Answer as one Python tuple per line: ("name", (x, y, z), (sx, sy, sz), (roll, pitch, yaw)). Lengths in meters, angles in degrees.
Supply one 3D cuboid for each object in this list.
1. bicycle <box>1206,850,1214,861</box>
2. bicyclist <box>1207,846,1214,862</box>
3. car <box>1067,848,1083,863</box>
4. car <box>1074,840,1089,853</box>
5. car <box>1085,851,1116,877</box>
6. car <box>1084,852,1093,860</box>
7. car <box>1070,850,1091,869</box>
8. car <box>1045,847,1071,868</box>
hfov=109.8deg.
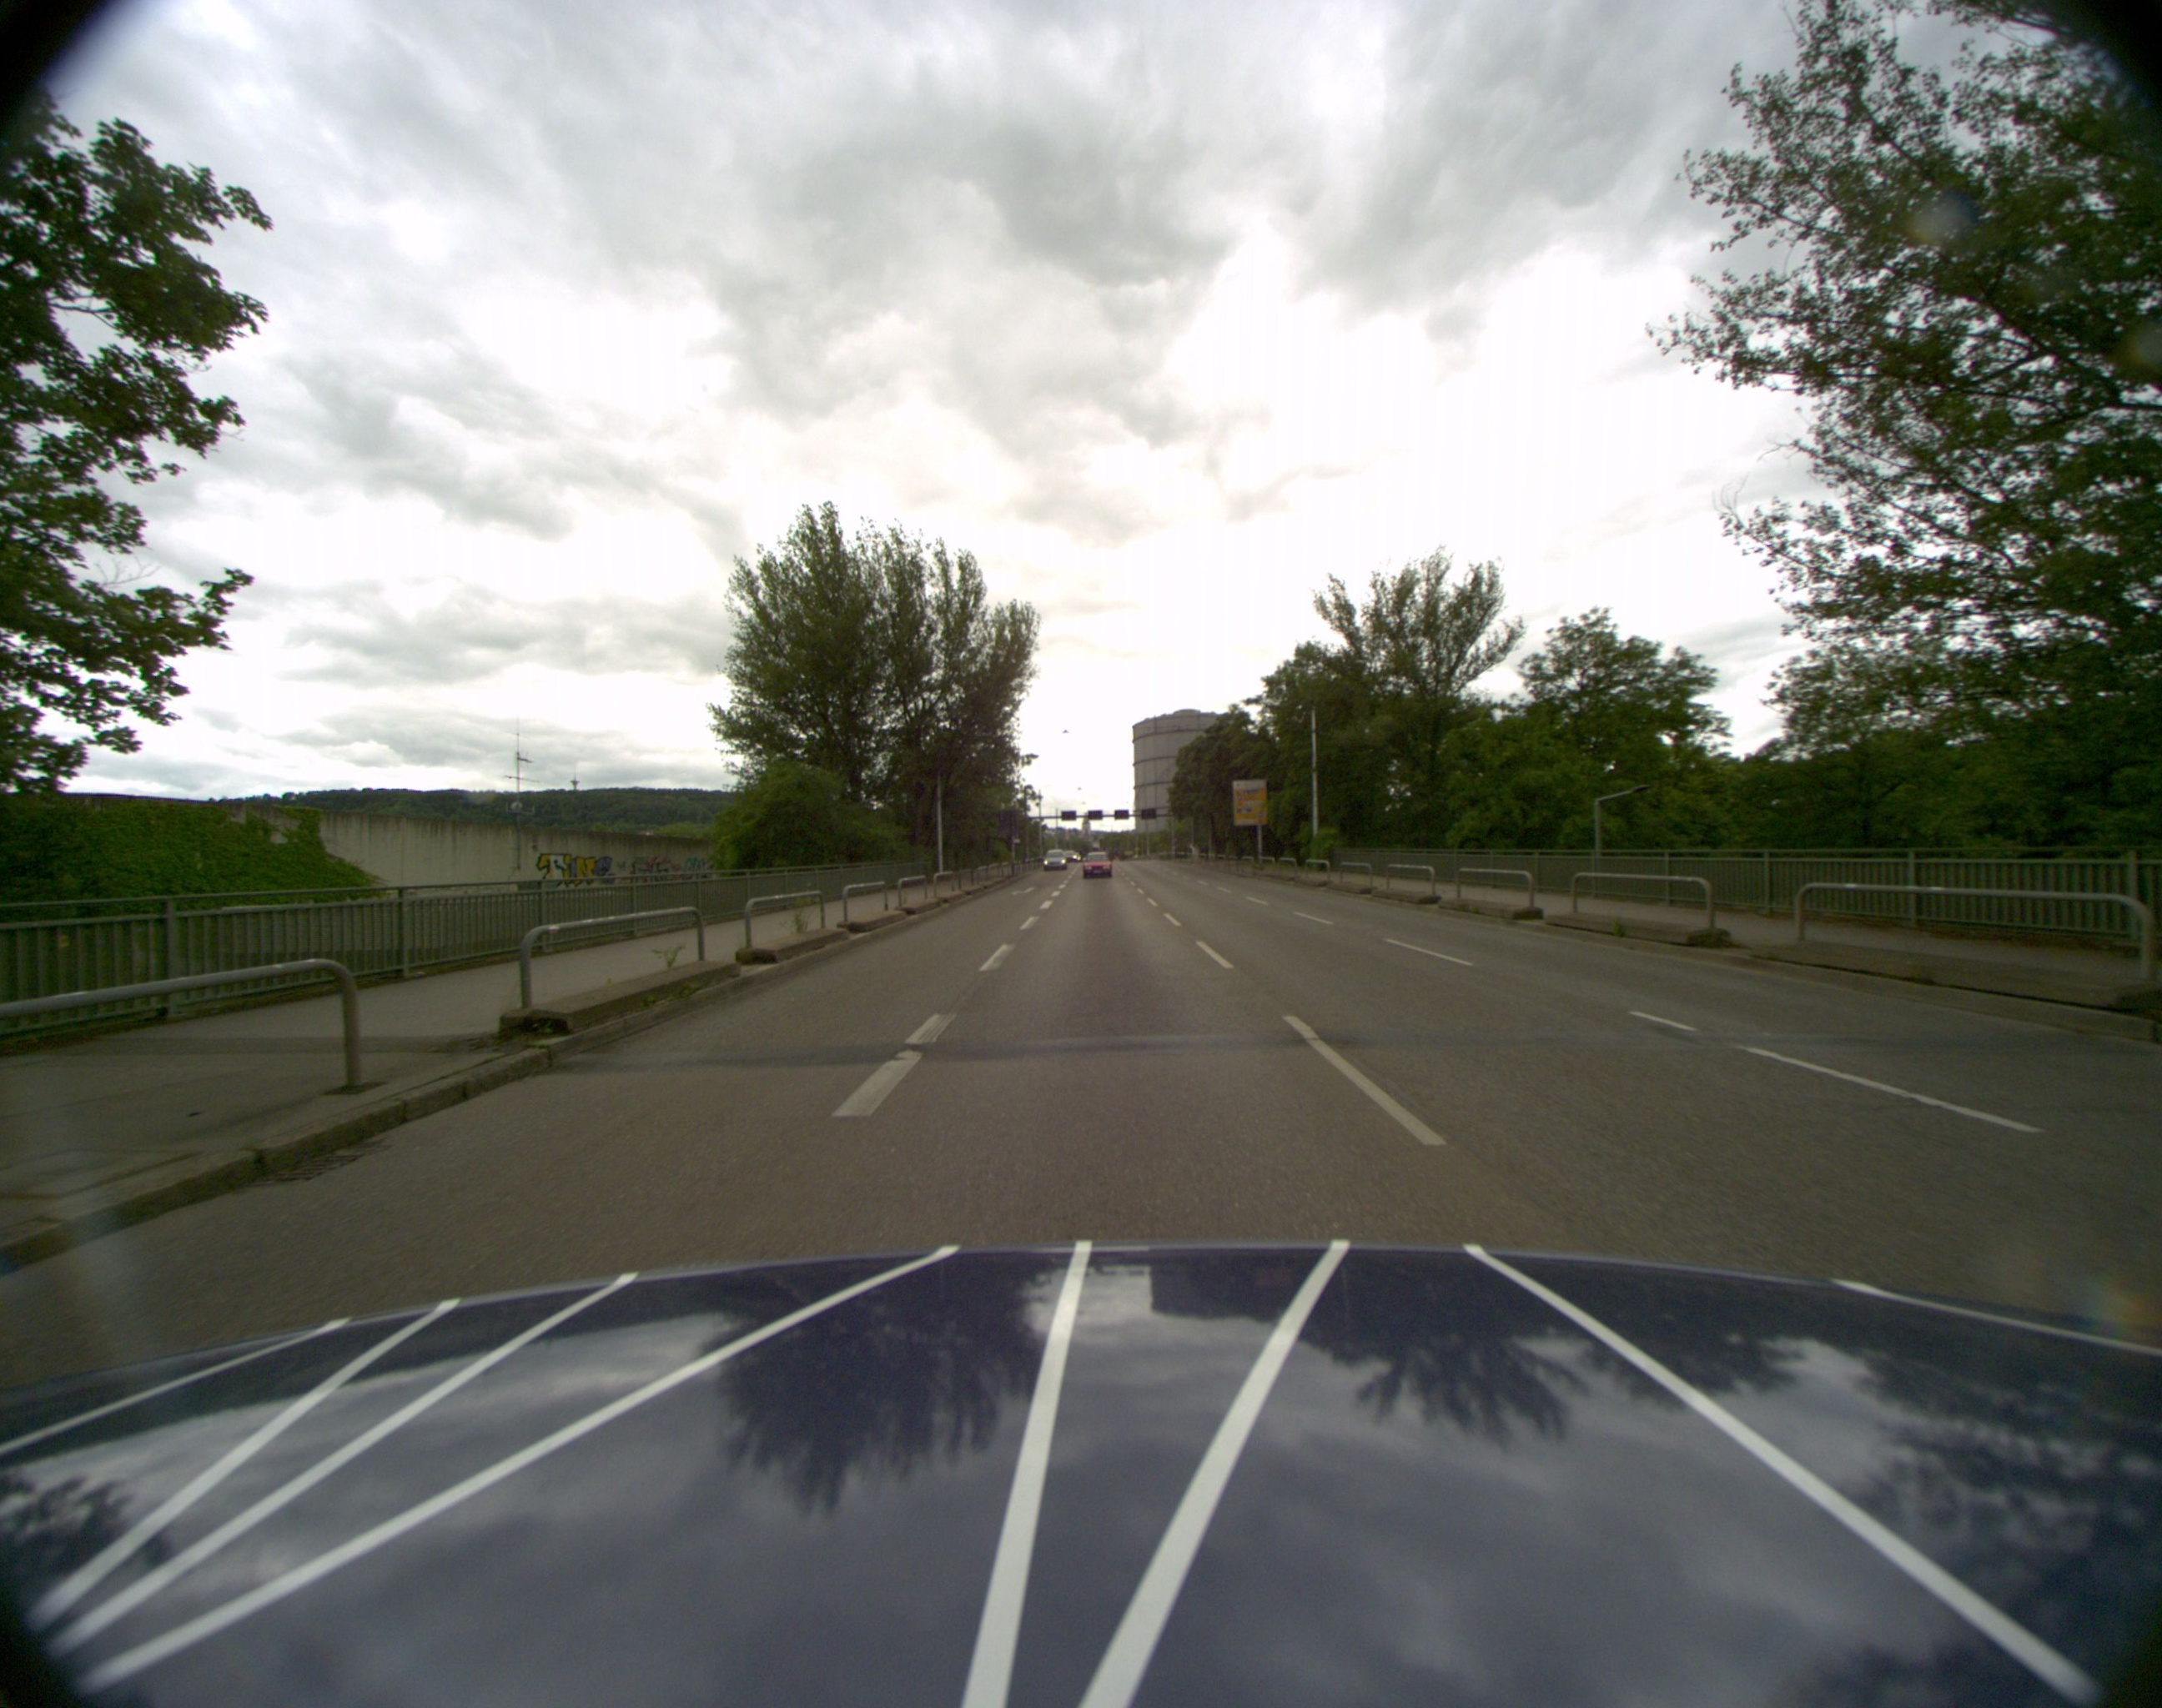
("bicycle", (12.319, 0.134, 72.555), (0.486, 0.996, 2.001), (-1, 1, 0))
("bicyclist", (12.337, -0.024, 72.543), (0.516, 1.508, 0.984), (-1, 1, 0))
("car", (-0.705, 0.202, 93.532), (1.776, 1.696, 3.999), (-3, 1, 0))
("car", (0.134, -1.130, 111.010), (1.998, 1.775, 4.001), (-1, 0, 3))
("car", (1.091, 0.539, 43.320), (1.696, 1.434, 4.000), (0, 0, 1))
("car", (2.094, 0.520, 206.846), (1.998, 1.792, 4.001), (-3, 1, 4))
("car", (-0.049, 0.472, 66.924), (1.785, 1.507, 4.000), (-2, 0, 0))
("car", (-1.816, 0.270, 60.697), (1.771, 1.565, 4.000), (-1, 1, 2))
